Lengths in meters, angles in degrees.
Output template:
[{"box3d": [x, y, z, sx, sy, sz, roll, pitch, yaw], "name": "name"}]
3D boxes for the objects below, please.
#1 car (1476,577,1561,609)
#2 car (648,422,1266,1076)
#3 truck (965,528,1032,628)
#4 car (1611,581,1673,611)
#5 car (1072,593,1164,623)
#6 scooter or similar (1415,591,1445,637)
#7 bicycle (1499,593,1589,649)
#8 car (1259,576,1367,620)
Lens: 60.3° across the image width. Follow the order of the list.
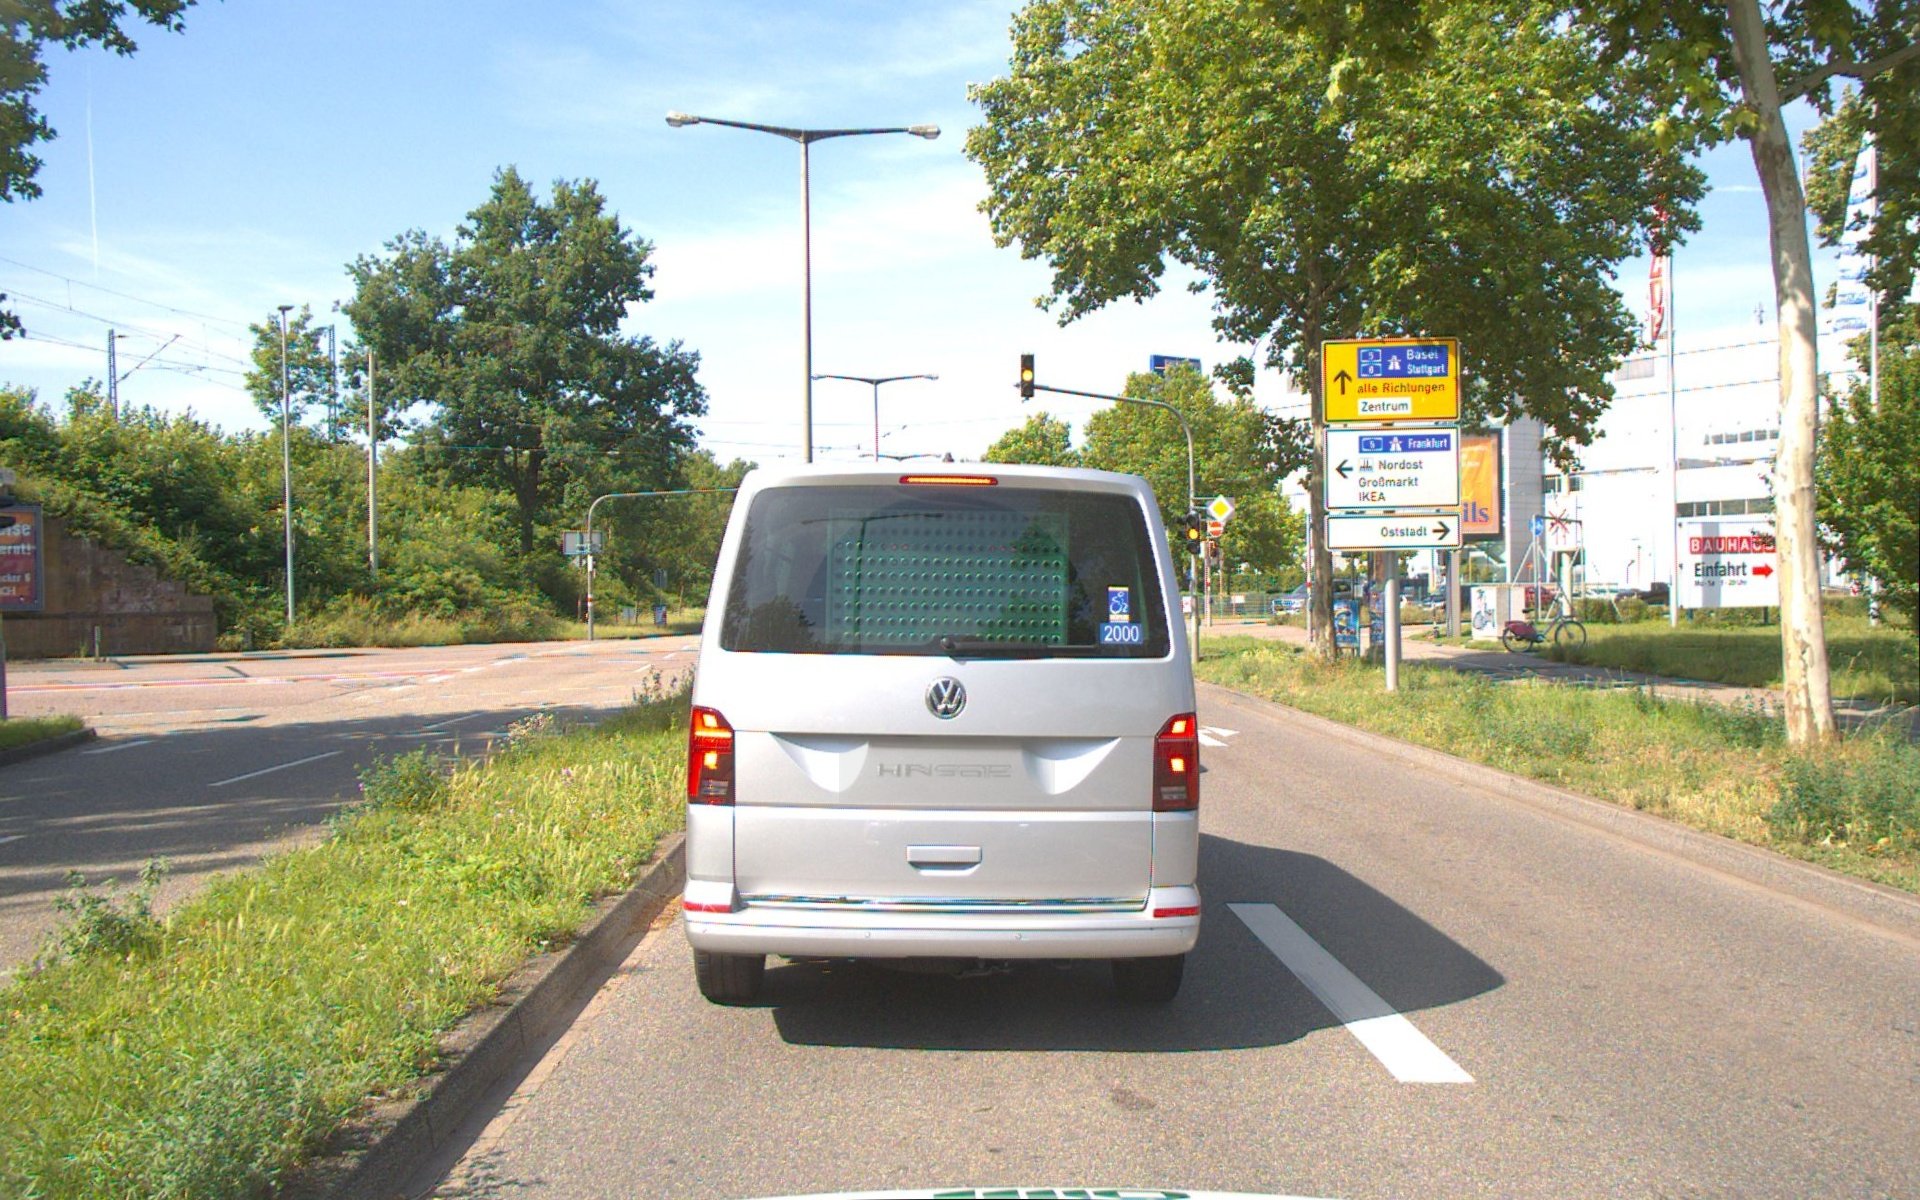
[{"box3d": [27.863, -0.356, 82.461, 4.578, 1.469, 1.758, -1, 0, -38], "name": "car"}, {"box3d": [-0.042, 0.452, 7.636, 1.902, 2.006, 5.021, 0, 0, -1], "name": "car"}, {"box3d": [1.587, -0.905, 72.271, 2.501, 4.026, 8.972, -1, 0, -1], "name": "truck"}, {"box3d": [38.332, -0.224, 92.917, 3.578, 1.593, 1.968, 1, 0, -43], "name": "car"}, {"box3d": [8.333, 0.419, 87.438, 4.530, 1.469, 1.776, -1, 0, 34], "name": "car"}, {"box3d": [12.093, 0.357, 42.573, 0.416, 1.146, 1.123, -1, 0, -2], "name": "scooter or similar"}, {"box3d": [12.504, 0.457, 35.448, 1.748, 1.127, 0.504, -3, -1, 18], "name": "bicycle"}, {"box3d": [14.730, -0.099, 68.931, 4.578, 1.718, 1.890, -1, 0, -38], "name": "car"}]
